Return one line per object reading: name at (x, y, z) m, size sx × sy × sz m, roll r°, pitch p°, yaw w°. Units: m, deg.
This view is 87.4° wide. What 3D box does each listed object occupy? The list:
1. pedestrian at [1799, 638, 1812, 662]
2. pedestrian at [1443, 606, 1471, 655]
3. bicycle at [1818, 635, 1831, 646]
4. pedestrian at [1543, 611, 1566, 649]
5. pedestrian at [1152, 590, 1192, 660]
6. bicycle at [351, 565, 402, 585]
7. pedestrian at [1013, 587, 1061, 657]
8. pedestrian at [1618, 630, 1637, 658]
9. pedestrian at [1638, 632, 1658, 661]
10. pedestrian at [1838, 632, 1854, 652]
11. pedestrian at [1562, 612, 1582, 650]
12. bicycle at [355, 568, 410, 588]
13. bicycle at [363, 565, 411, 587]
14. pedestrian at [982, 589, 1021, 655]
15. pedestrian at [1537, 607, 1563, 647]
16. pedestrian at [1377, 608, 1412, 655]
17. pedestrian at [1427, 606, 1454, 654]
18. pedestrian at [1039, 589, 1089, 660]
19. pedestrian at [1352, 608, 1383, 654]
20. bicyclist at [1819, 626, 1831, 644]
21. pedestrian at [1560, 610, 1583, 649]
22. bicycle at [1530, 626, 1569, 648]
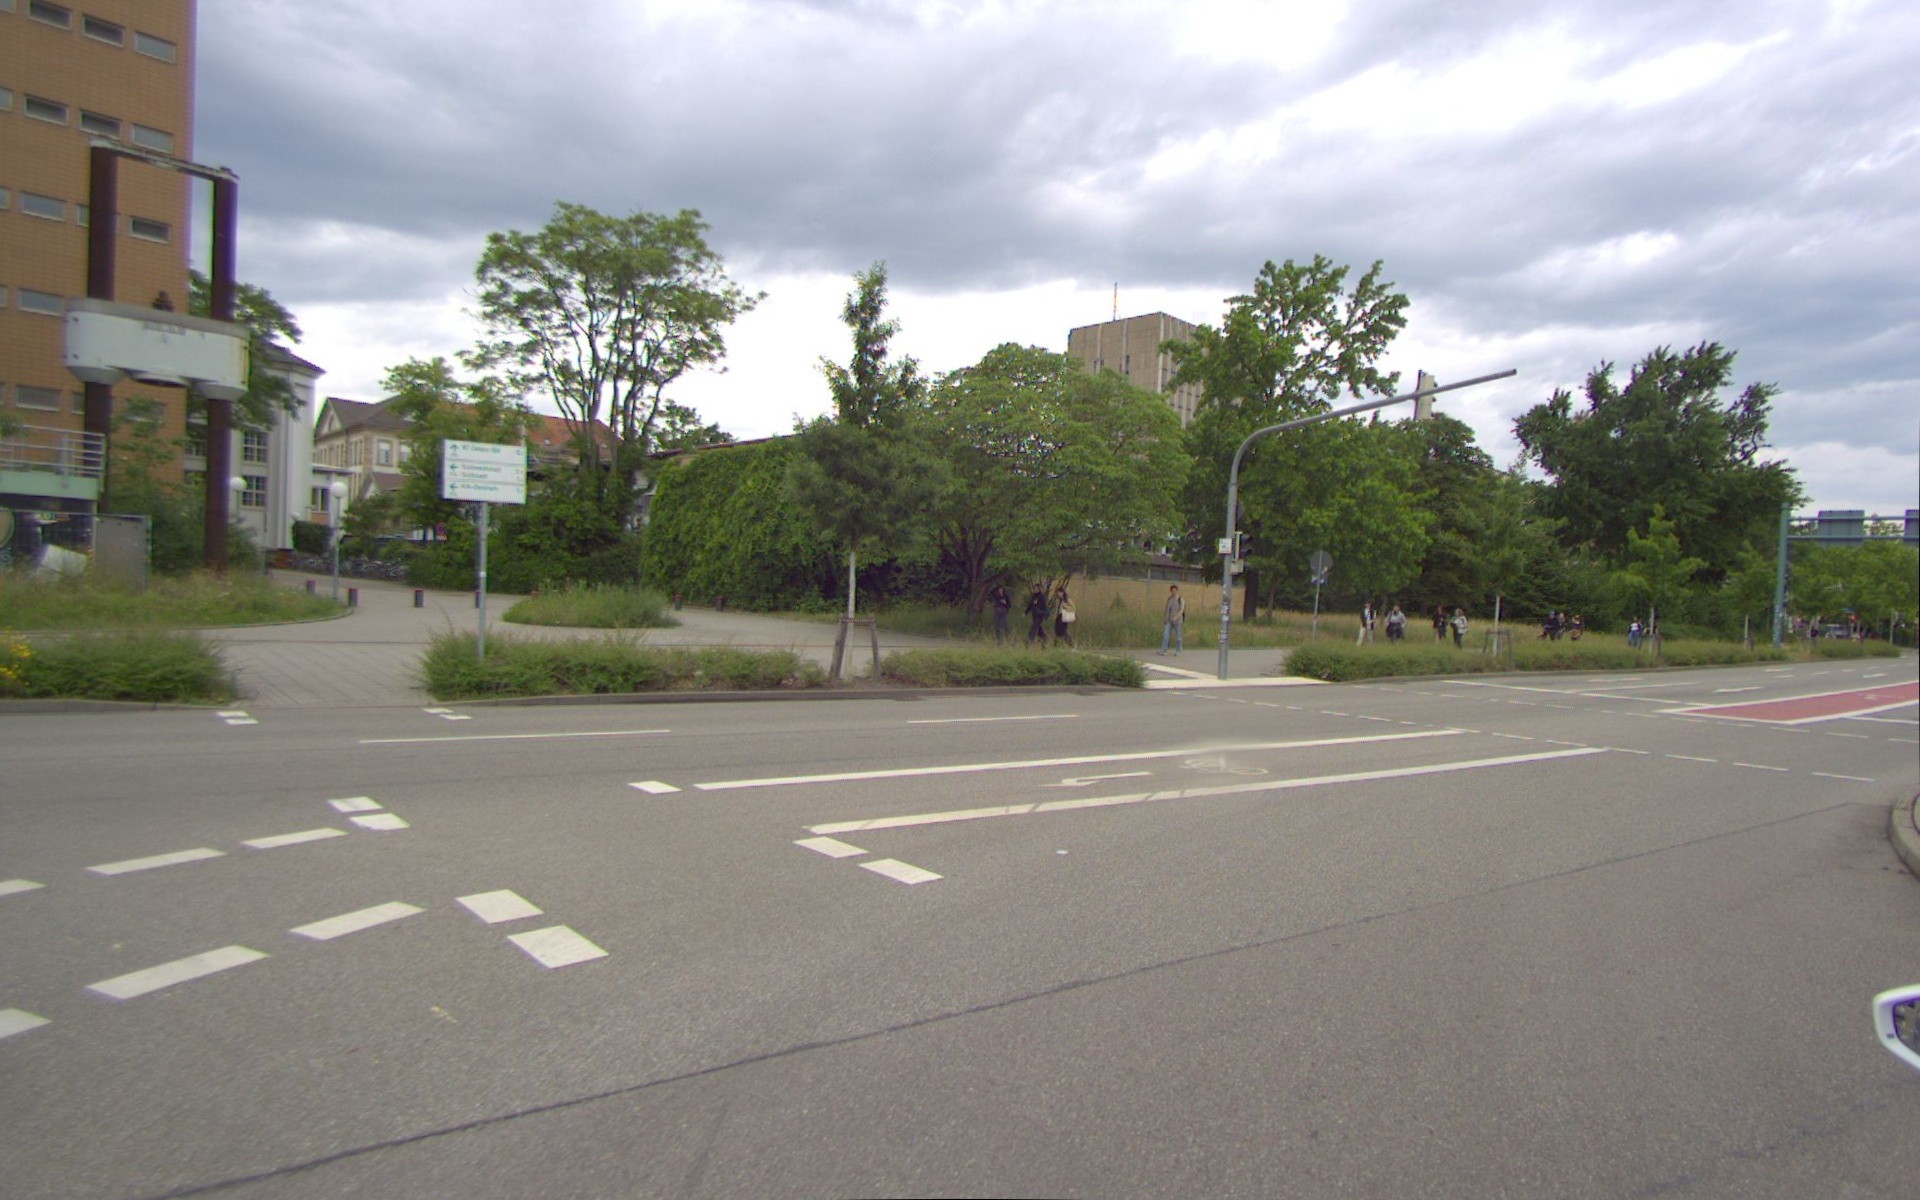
pedestrian at (63.594, 3.760, 75.558) m, size 0.812 × 1.752 × 0.615 m, roll 2°, pitch 0°, yaw -40°
pedestrian at (17.937, 1.106, 36.253) m, size 0.740 × 1.718 × 0.617 m, roll 2°, pitch 0°, yaw -38°
bicycle at (83.022, 3.888, 96.466) m, size 0.657 × 1.076 × 1.615 m, roll 5°, pitch 1°, yaw 32°
pedestrian at (26.846, 1.361, 45.363) m, size 0.699 × 1.695 × 0.763 m, roll 2°, pitch 0°, yaw 44°
pedestrian at (5.656, 0.659, 26.796) m, size 0.755 × 1.825 × 0.632 m, roll 2°, pitch 2°, yaw -37°
bicycle at (-30.919, -1.331, 53.272) m, size 2.320 × 0.951 × 0.849 m, roll 2°, pitch 0°, yaw -30°
pedestrian at (1.948, 0.563, 25.387) m, size 0.881 × 1.693 × 0.701 m, roll 2°, pitch 3°, yaw -37°
pedestrian at (33.023, 2.168, 49.678) m, size 0.676 × 1.381 × 0.639 m, roll 2°, pitch 0°, yaw -43°
pedestrian at (33.535, 2.283, 48.948) m, size 0.706 × 1.376 × 0.639 m, roll 2°, pitch 0°, yaw -43°
pedestrian at (82.767, 3.901, 93.834) m, size 0.825 × 1.761 × 0.832 m, roll 4°, pitch -3°, yaw 11°
pedestrian at (27.342, 1.386, 44.844) m, size 0.579 × 1.682 × 0.716 m, roll 2°, pitch 0°, yaw 44°
bicycle at (-29.863, -1.130, 51.978) m, size 2.313 × 0.951 × 0.851 m, roll 2°, pitch 0°, yaw -22°
bicycle at (-29.039, -1.201, 50.913) m, size 1.997 × 1.010 × 0.818 m, roll 2°, pitch 0°, yaw -22°
pedestrian at (1.084, 0.544, 25.922) m, size 0.623 × 1.634 × 0.829 m, roll 4°, pitch 2°, yaw 28°
pedestrian at (24.999, 1.154, 42.560) m, size 0.754 × 1.653 × 0.658 m, roll 2°, pitch 0°, yaw -29°
pedestrian at (14.228, 1.042, 32.903) m, size 0.805 × 1.499 × 0.723 m, roll 2°, pitch 0°, yaw -36°
pedestrian at (17.570, 1.084, 36.762) m, size 0.755 × 1.734 × 0.574 m, roll 2°, pitch 0°, yaw -38°
pedestrian at (2.572, 0.602, 24.865) m, size 0.934 × 1.693 × 0.701 m, roll 2°, pitch 2°, yaw -37°
pedestrian at (13.565, 1.020, 33.419) m, size 0.755 × 1.499 × 0.631 m, roll 2°, pitch 0°, yaw -37°
bicyclist at (83.073, 3.359, 96.476) m, size 0.656 × 1.657 × 0.959 m, roll 5°, pitch 1°, yaw 32°
pedestrian at (25.506, 1.231, 41.928) m, size 0.609 × 1.630 × 0.572 m, roll 2°, pitch 0°, yaw -32°
bicycle at (24.988, 1.561, 42.561) m, size 1.694 × 0.899 × 0.658 m, roll 2°, pitch 0°, yaw -29°
